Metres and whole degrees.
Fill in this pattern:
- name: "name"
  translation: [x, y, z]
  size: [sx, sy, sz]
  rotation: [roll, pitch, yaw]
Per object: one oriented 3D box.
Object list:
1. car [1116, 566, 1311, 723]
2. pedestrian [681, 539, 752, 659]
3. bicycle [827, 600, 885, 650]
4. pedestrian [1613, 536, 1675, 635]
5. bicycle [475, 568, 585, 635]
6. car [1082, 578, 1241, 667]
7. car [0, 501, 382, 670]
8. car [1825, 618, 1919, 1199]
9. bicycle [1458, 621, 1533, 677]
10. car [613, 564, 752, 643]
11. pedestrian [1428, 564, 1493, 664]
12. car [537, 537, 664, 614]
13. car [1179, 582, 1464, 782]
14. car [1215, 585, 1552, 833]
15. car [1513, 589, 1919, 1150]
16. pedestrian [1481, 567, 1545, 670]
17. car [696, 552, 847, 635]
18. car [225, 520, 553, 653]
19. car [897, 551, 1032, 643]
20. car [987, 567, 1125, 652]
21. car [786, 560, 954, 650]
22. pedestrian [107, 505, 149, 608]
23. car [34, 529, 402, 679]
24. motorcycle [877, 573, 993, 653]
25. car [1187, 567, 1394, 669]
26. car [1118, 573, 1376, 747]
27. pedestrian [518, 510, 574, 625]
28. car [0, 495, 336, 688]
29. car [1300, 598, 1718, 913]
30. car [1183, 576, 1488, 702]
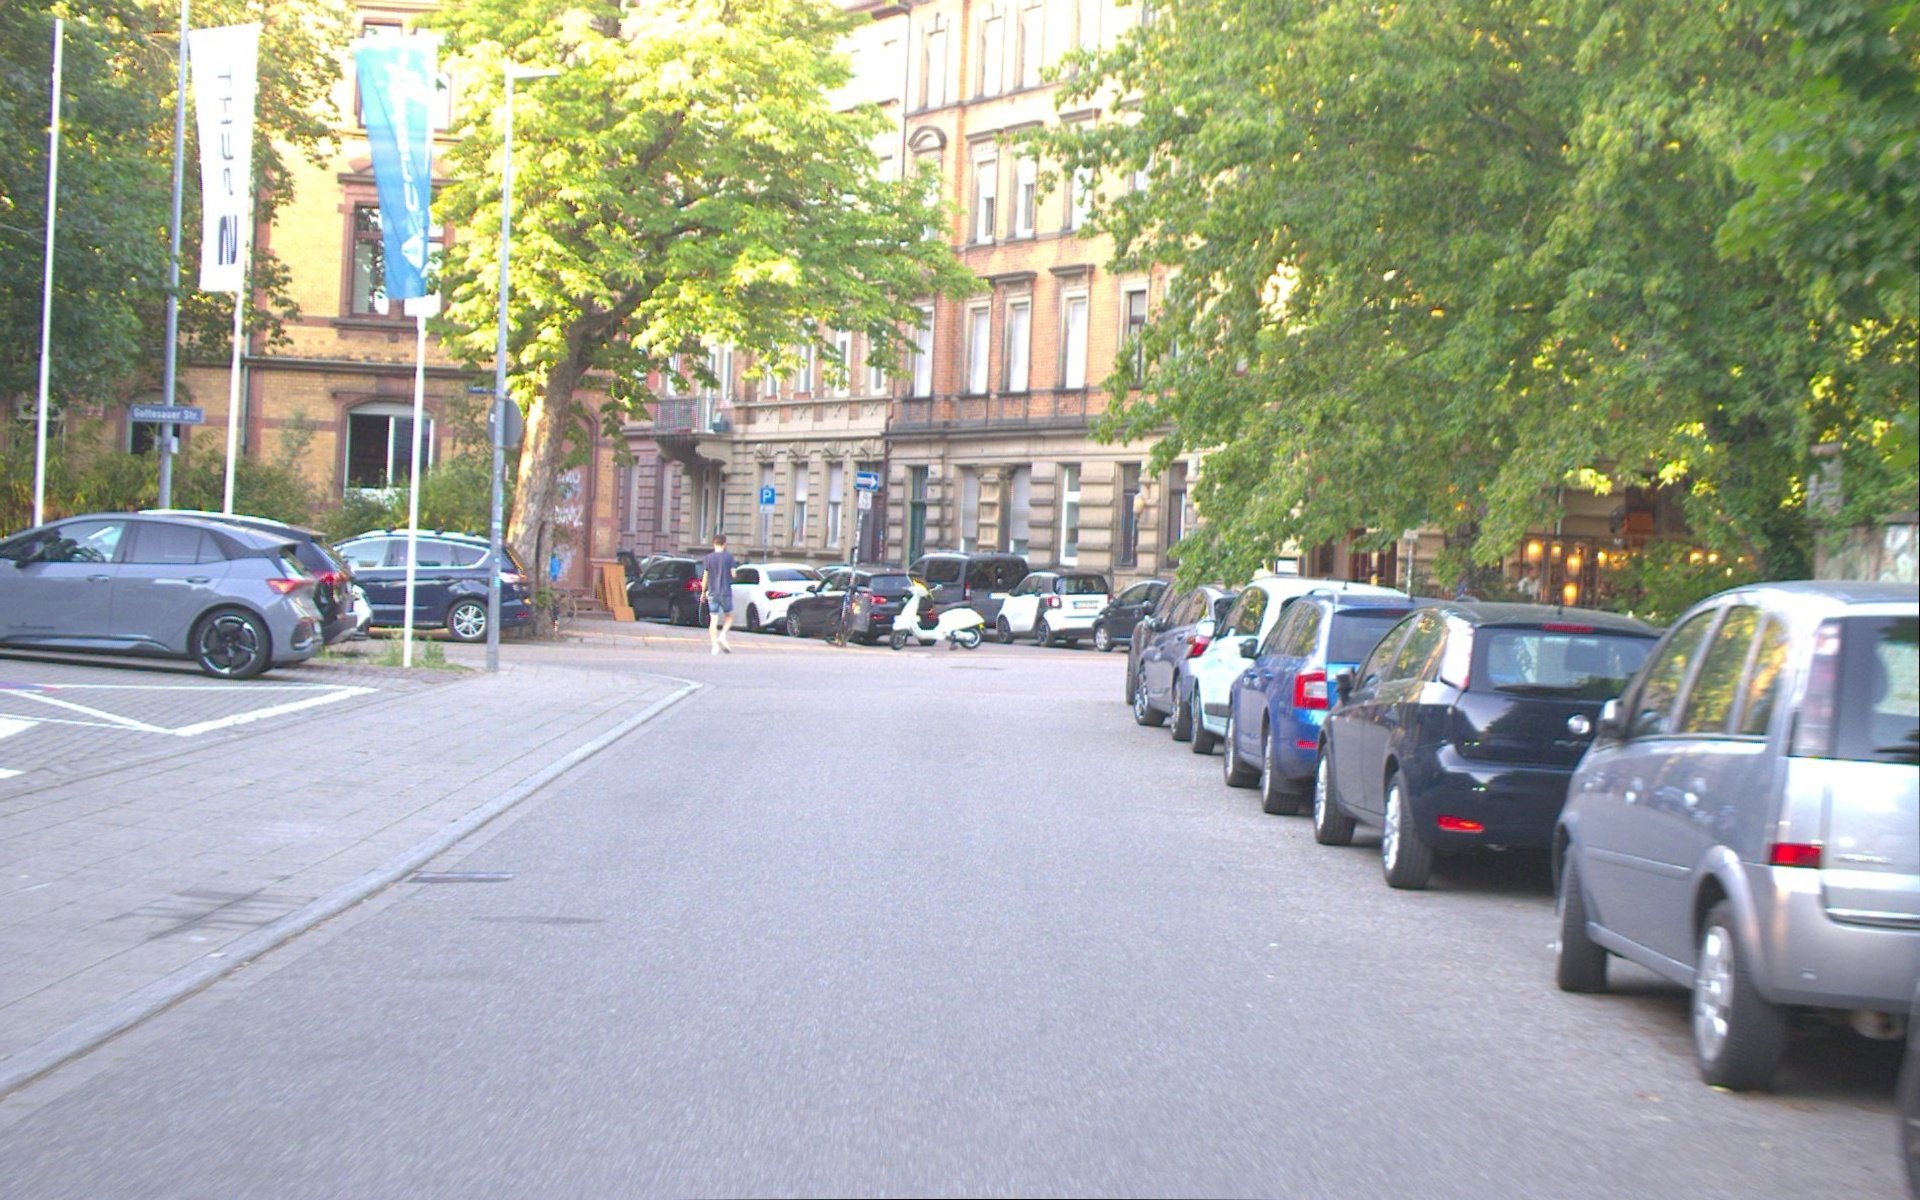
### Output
- name: "car"
  translation: [2.744, 0.450, 37.978]
  size: [1.695, 1.565, 3.972]
  rotation: [2, 0, -1]
- name: "pedestrian"
  translation: [-3.756, -0.023, 52.990]
  size: [0.735, 1.798, 1.122]
  rotation: [2, 1, -21]
- name: "bicycle"
  translation: [-1.785, 0.430, 59.121]
  size: [0.425, 0.819, 1.460]
  rotation: [3, 1, 21]
- name: "pedestrian"
  translation: [12.550, -0.271, 63.089]
  size: [0.773, 1.798, 0.843]
  rotation: [0, 2, -15]
- name: "bicycle"
  translation: [-6.971, 0.025, 55.782]
  size: [1.671, 1.025, 0.446]
  rotation: [2, 1, -24]
- name: "car"
  translation: [3.845, 0.413, 66.090]
  size: [1.674, 1.520, 3.244]
  rotation: [2, 1, -25]
- name: "car"
  translation: [-8.426, -0.179, 37.118]
  size: [4.066, 1.612, 1.765]
  rotation: [2, 1, -2]
- name: "car"
  translation: [3.179, 0.848, 6.988]
  size: [1.759, 1.436, 3.874]
  rotation: [2, 1, -1]
- name: "bicycle"
  translation: [9.408, 0.855, 60.405]
  size: [0.319, 0.911, 1.364]
  rotation: [1, 2, -42]
- name: "car"
  translation: [-5.952, 0.066, 73.398]
  size: [1.654, 1.426, 3.897]
  rotation: [3, 2, -25]
- name: "pedestrian"
  translation: [9.293, 0.265, 63.816]
  size: [0.840, 1.798, 0.776]
  rotation: [2, 1, -21]
- name: "car"
  translation: [-8.261, -0.579, 78.699]
  size: [1.654, 1.519, 3.897]
  rotation: [3, 2, -25]
- name: "car"
  translation: [2.927, 0.629, 28.537]
  size: [1.695, 1.472, 3.560]
  rotation: [2, 0, -4]
- name: "car"
  translation: [2.810, 0.677, 23.628]
  size: [1.695, 1.472, 4.117]
  rotation: [2, 0, -1]
- name: "car"
  translation: [3.172, 0.808, 11.964]
  size: [1.759, 1.598, 3.874]
  rotation: [2, 0, -1]
- name: "pedestrian"
  translation: [9.988, 0.336, 62.093]
  size: [0.773, 1.798, 0.843]
  rotation: [2, 1, -15]
- name: "car"
  translation: [-3.826, -0.150, 69.019]
  size: [1.654, 1.426, 4.168]
  rotation: [3, 2, -23]
- name: "car"
  translation: [-8.767, -0.226, 53.144]
  size: [4.828, 1.726, 1.921]
  rotation: [3, 1, -6]
- name: "car"
  translation: [0.074, -0.077, 73.068]
  size: [1.674, 1.776, 3.016]
  rotation: [3, 1, -25]
- name: "car"
  translation: [1.921, 0.185, 69.481]
  size: [1.674, 1.520, 2.768]
  rotation: [3, 1, -25]
- name: "car"
  translation: [-1.726, 0.076, 64.493]
  size: [1.654, 1.426, 3.991]
  rotation: [3, 2, -24]
- name: "pedestrian"
  translation: [-13.436, -0.708, 55.506]
  size: [0.542, 1.629, 0.448]
  rotation: [2, 1, -5]
- name: "car"
  translation: [-8.935, 0.032, 41.676]
  size: [4.045, 1.470, 1.921]
  rotation: [4, 1, -4]
- name: "motorcycle"
  translation: [-0.446, 0.227, 61.237]
  size: [1.931, 1.336, 0.577]
  rotation: [2, 1, -11]
- name: "car"
  translation: [5.879, 0.305, 61.560]
  size: [1.914, 1.520, 3.897]
  rotation: [3, 2, -25]
- name: "car"
  translation: [2.672, 0.524, 32.943]
  size: [1.695, 1.472, 4.213]
  rotation: [2, 0, -5]
- name: "pedestrian"
  translation: [-6.821, -0.546, 56.658]
  size: [0.815, 1.846, 0.803]
  rotation: [2, 1, -5]
- name: "car"
  translation: [-8.474, -0.137, 34.235]
  size: [4.129, 1.612, 1.913]
  rotation: [4, 1, -2]
- name: "car"
  translation: [2.919, 0.774, 18.988]
  size: [1.596, 1.472, 3.774]
  rotation: [2, 0, -1]
- name: "car"
  translation: [4.931, 0.521, 44.794]
  size: [1.880, 1.461, 3.961]
  rotation: [4, 2, 43]
